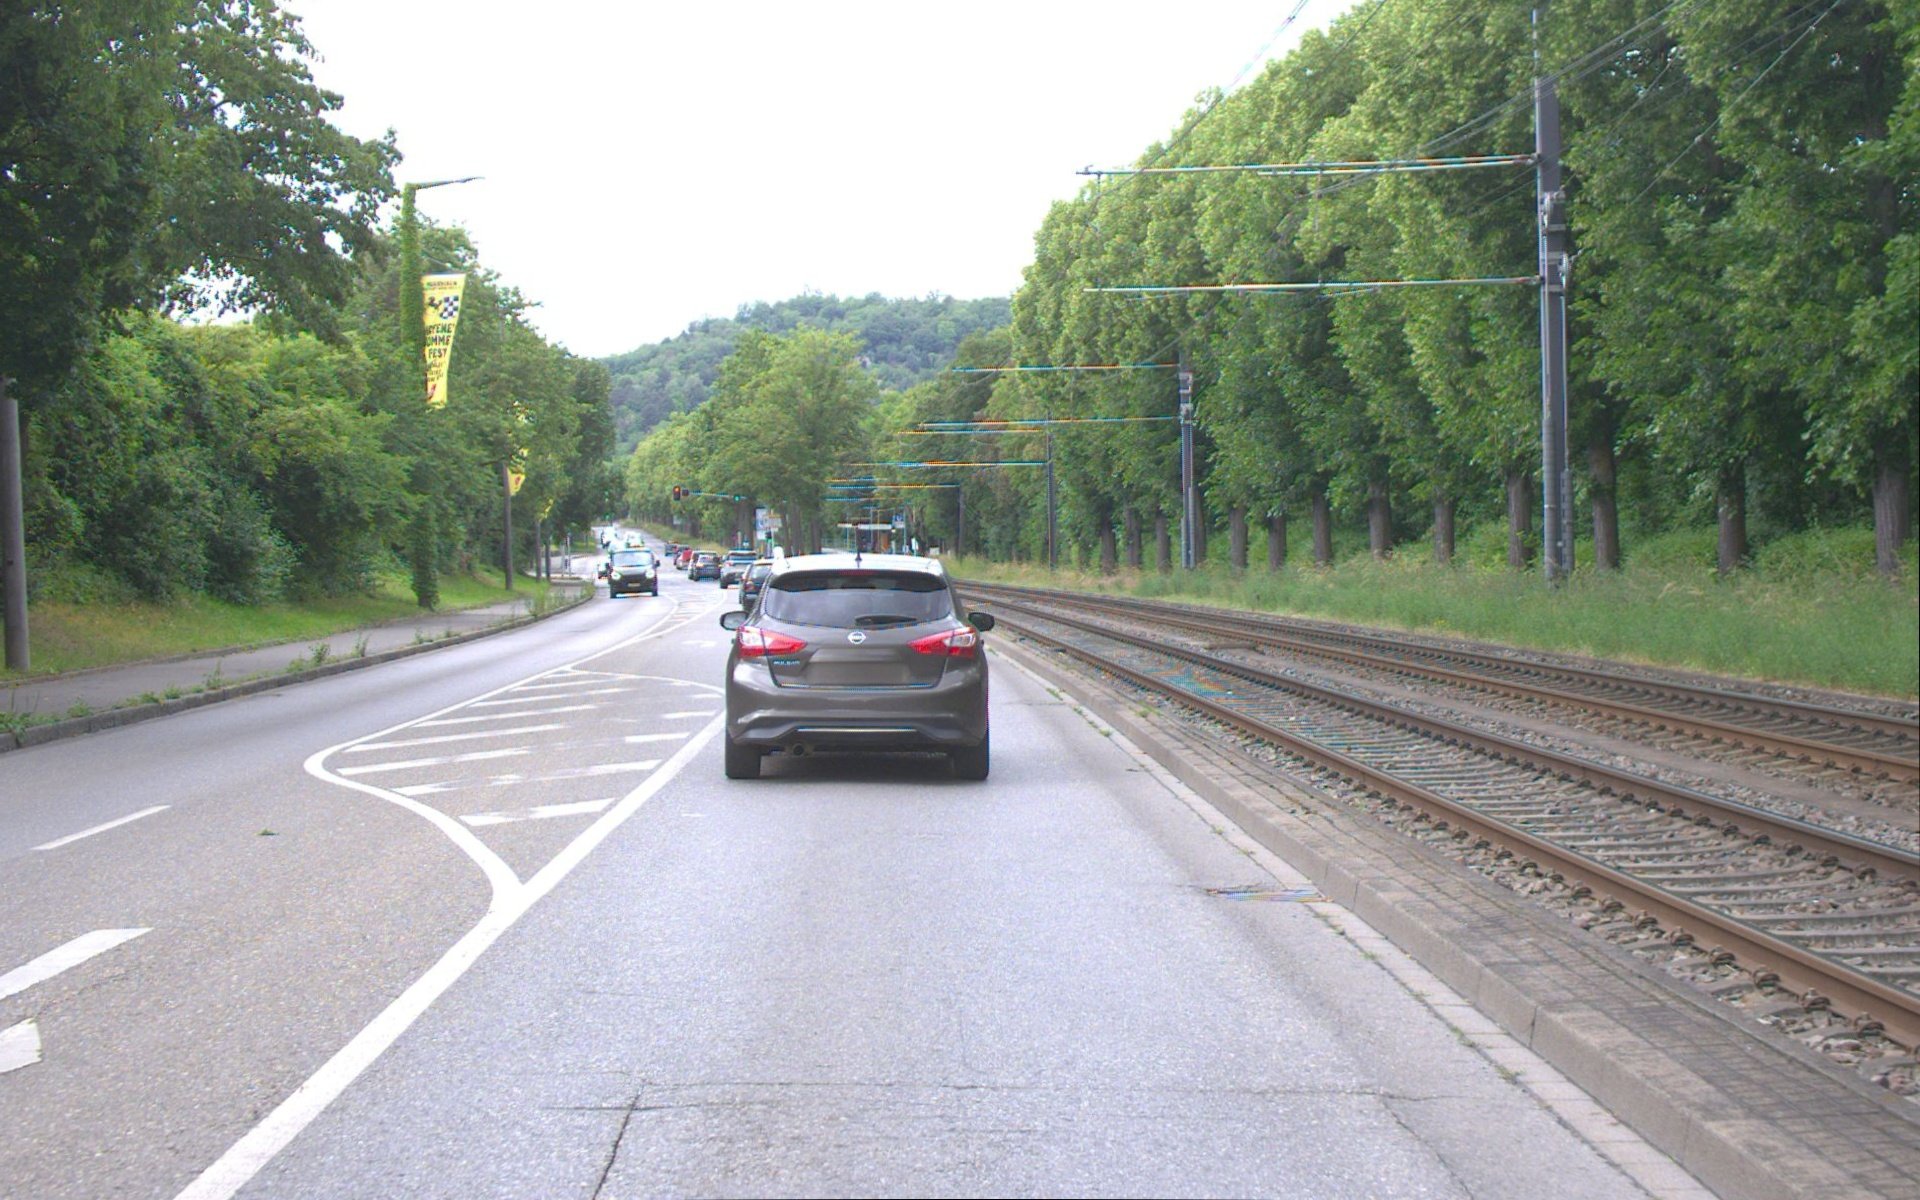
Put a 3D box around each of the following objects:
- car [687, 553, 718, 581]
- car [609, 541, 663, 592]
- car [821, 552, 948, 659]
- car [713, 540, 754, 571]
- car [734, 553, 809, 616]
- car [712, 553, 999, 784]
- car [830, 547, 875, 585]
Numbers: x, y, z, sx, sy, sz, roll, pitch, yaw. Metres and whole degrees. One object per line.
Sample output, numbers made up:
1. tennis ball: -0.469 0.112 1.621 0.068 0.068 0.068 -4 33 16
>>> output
1. car: -16.018 -2.051 214.030 1.699 1.708 4.000 0 1 -1
2. car: -13.529 -1.405 143.893 1.993 2.029 5.117 -2 1 -3
3. car: -1.099 0.046 48.208 1.699 1.438 4.000 0 1 -2
4. car: -11.049 -2.171 167.890 1.794 1.505 4.000 0 1 -1
5. car: -4.403 -0.380 80.113 1.699 1.438 4.001 0 1 -3
6. car: -0.697 0.422 24.212 1.850 1.488 4.000 0 1 -1
7. car: -4.105 -1.295 131.575 1.699 1.438 4.000 0 1 -1
